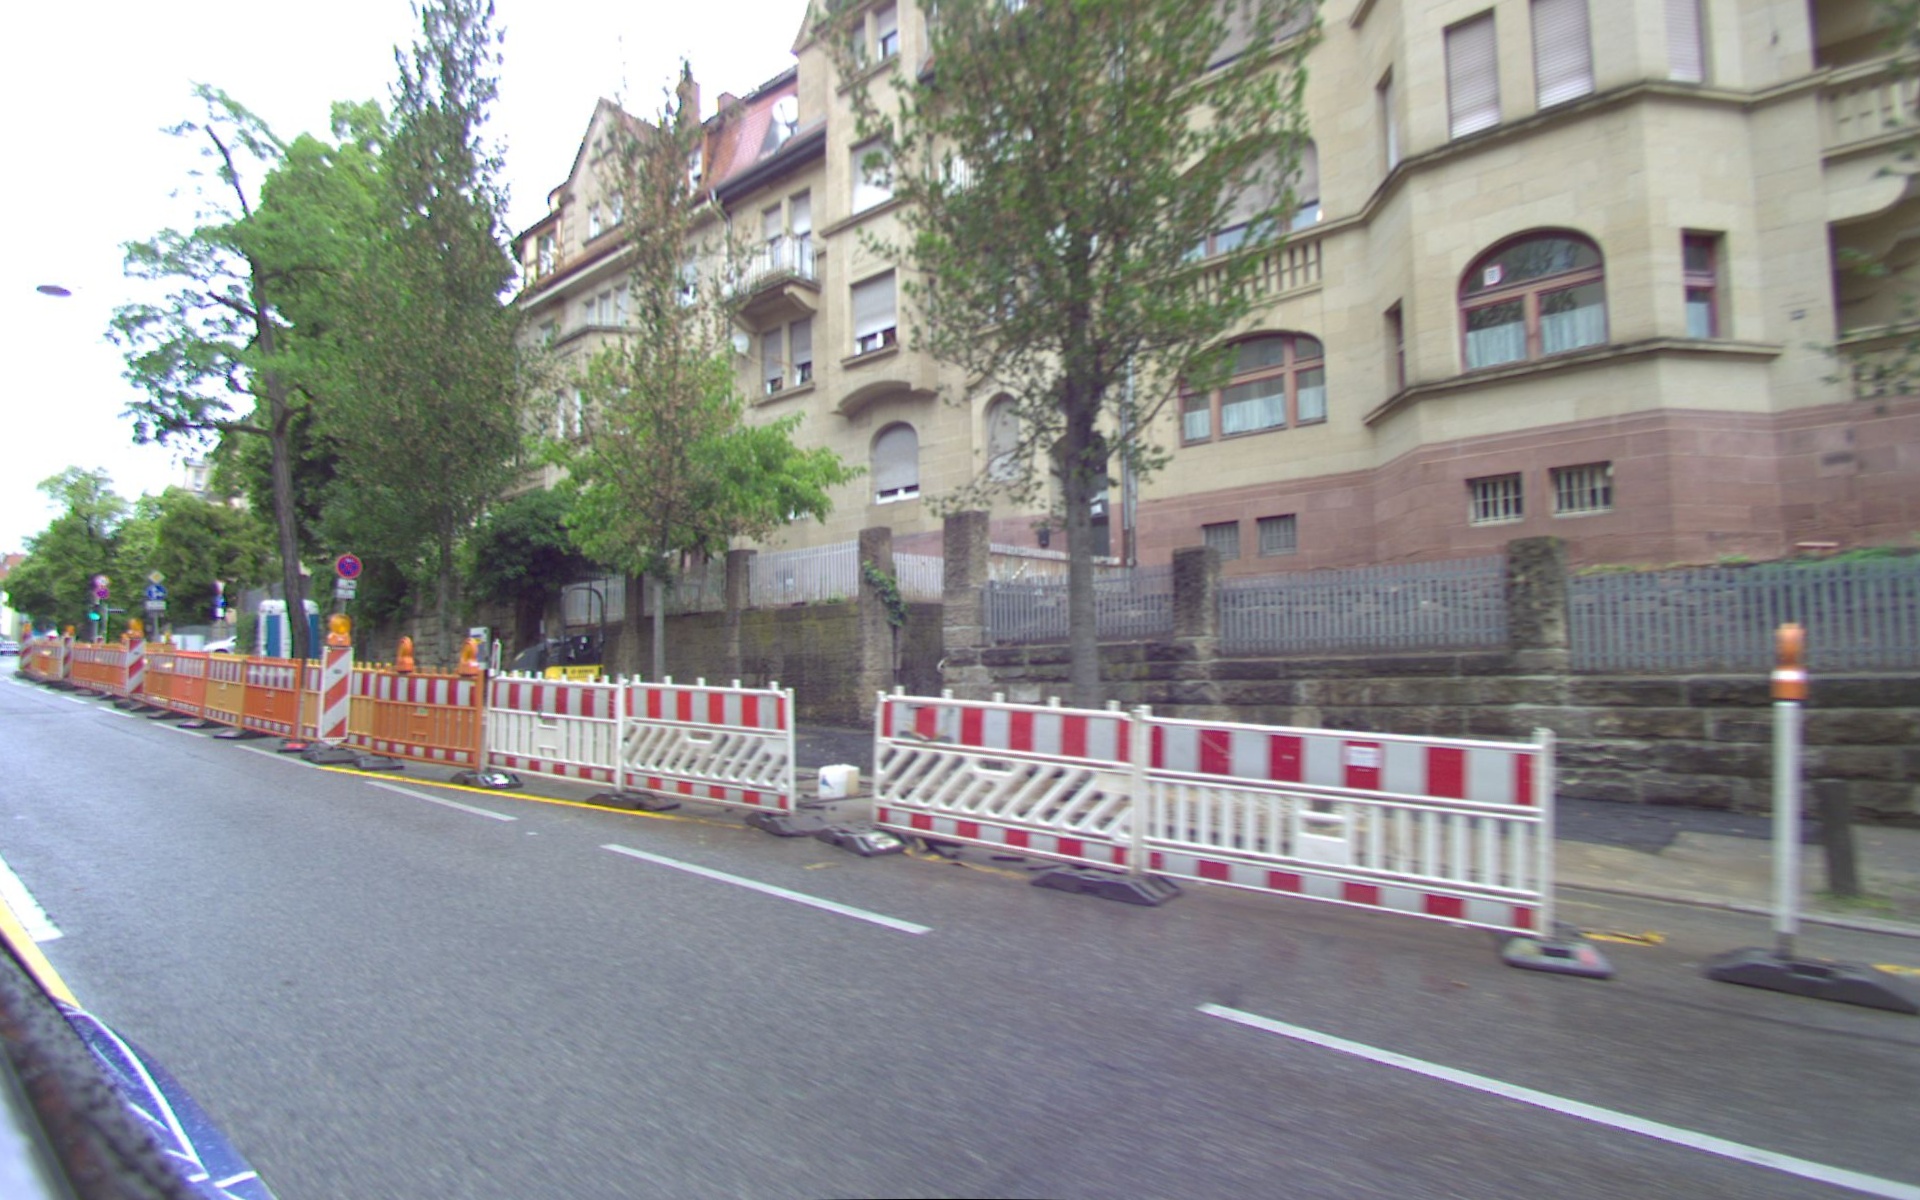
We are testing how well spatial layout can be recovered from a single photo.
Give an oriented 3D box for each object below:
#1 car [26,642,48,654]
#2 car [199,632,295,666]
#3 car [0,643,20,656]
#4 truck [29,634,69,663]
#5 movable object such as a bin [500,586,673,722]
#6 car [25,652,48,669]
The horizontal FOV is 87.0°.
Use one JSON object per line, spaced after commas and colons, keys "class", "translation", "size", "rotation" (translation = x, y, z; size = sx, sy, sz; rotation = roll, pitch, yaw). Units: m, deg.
{"class": "car", "translation": [-125.074, 6.475, 137.188], "size": [1.689, 1.491, 4.123], "rotation": [5, -5, -36]}
{"class": "car", "translation": [-35.501, 2.419, 50.430], "size": [3.812, 1.419, 1.830], "rotation": [-2, 1, -37]}
{"class": "car", "translation": [-111.397, 5.775, 118.355], "size": [1.749, 1.529, 4.106], "rotation": [3, -4, -39]}
{"class": "truck", "translation": [-132.022, 7.087, 146.779], "size": [2.612, 3.884, 9.331], "rotation": [4, -5, -33]}
{"class": "movable object such as a bin", "translation": [-7.015, 1.014, 18.954], "size": [2.816, 2.317, 1.971], "rotation": [-3, -5, 45]}
{"class": "car", "translation": [-106.337, 6.989, 116.560], "size": [1.793, 1.529, 4.553], "rotation": [5, -10, -42]}
